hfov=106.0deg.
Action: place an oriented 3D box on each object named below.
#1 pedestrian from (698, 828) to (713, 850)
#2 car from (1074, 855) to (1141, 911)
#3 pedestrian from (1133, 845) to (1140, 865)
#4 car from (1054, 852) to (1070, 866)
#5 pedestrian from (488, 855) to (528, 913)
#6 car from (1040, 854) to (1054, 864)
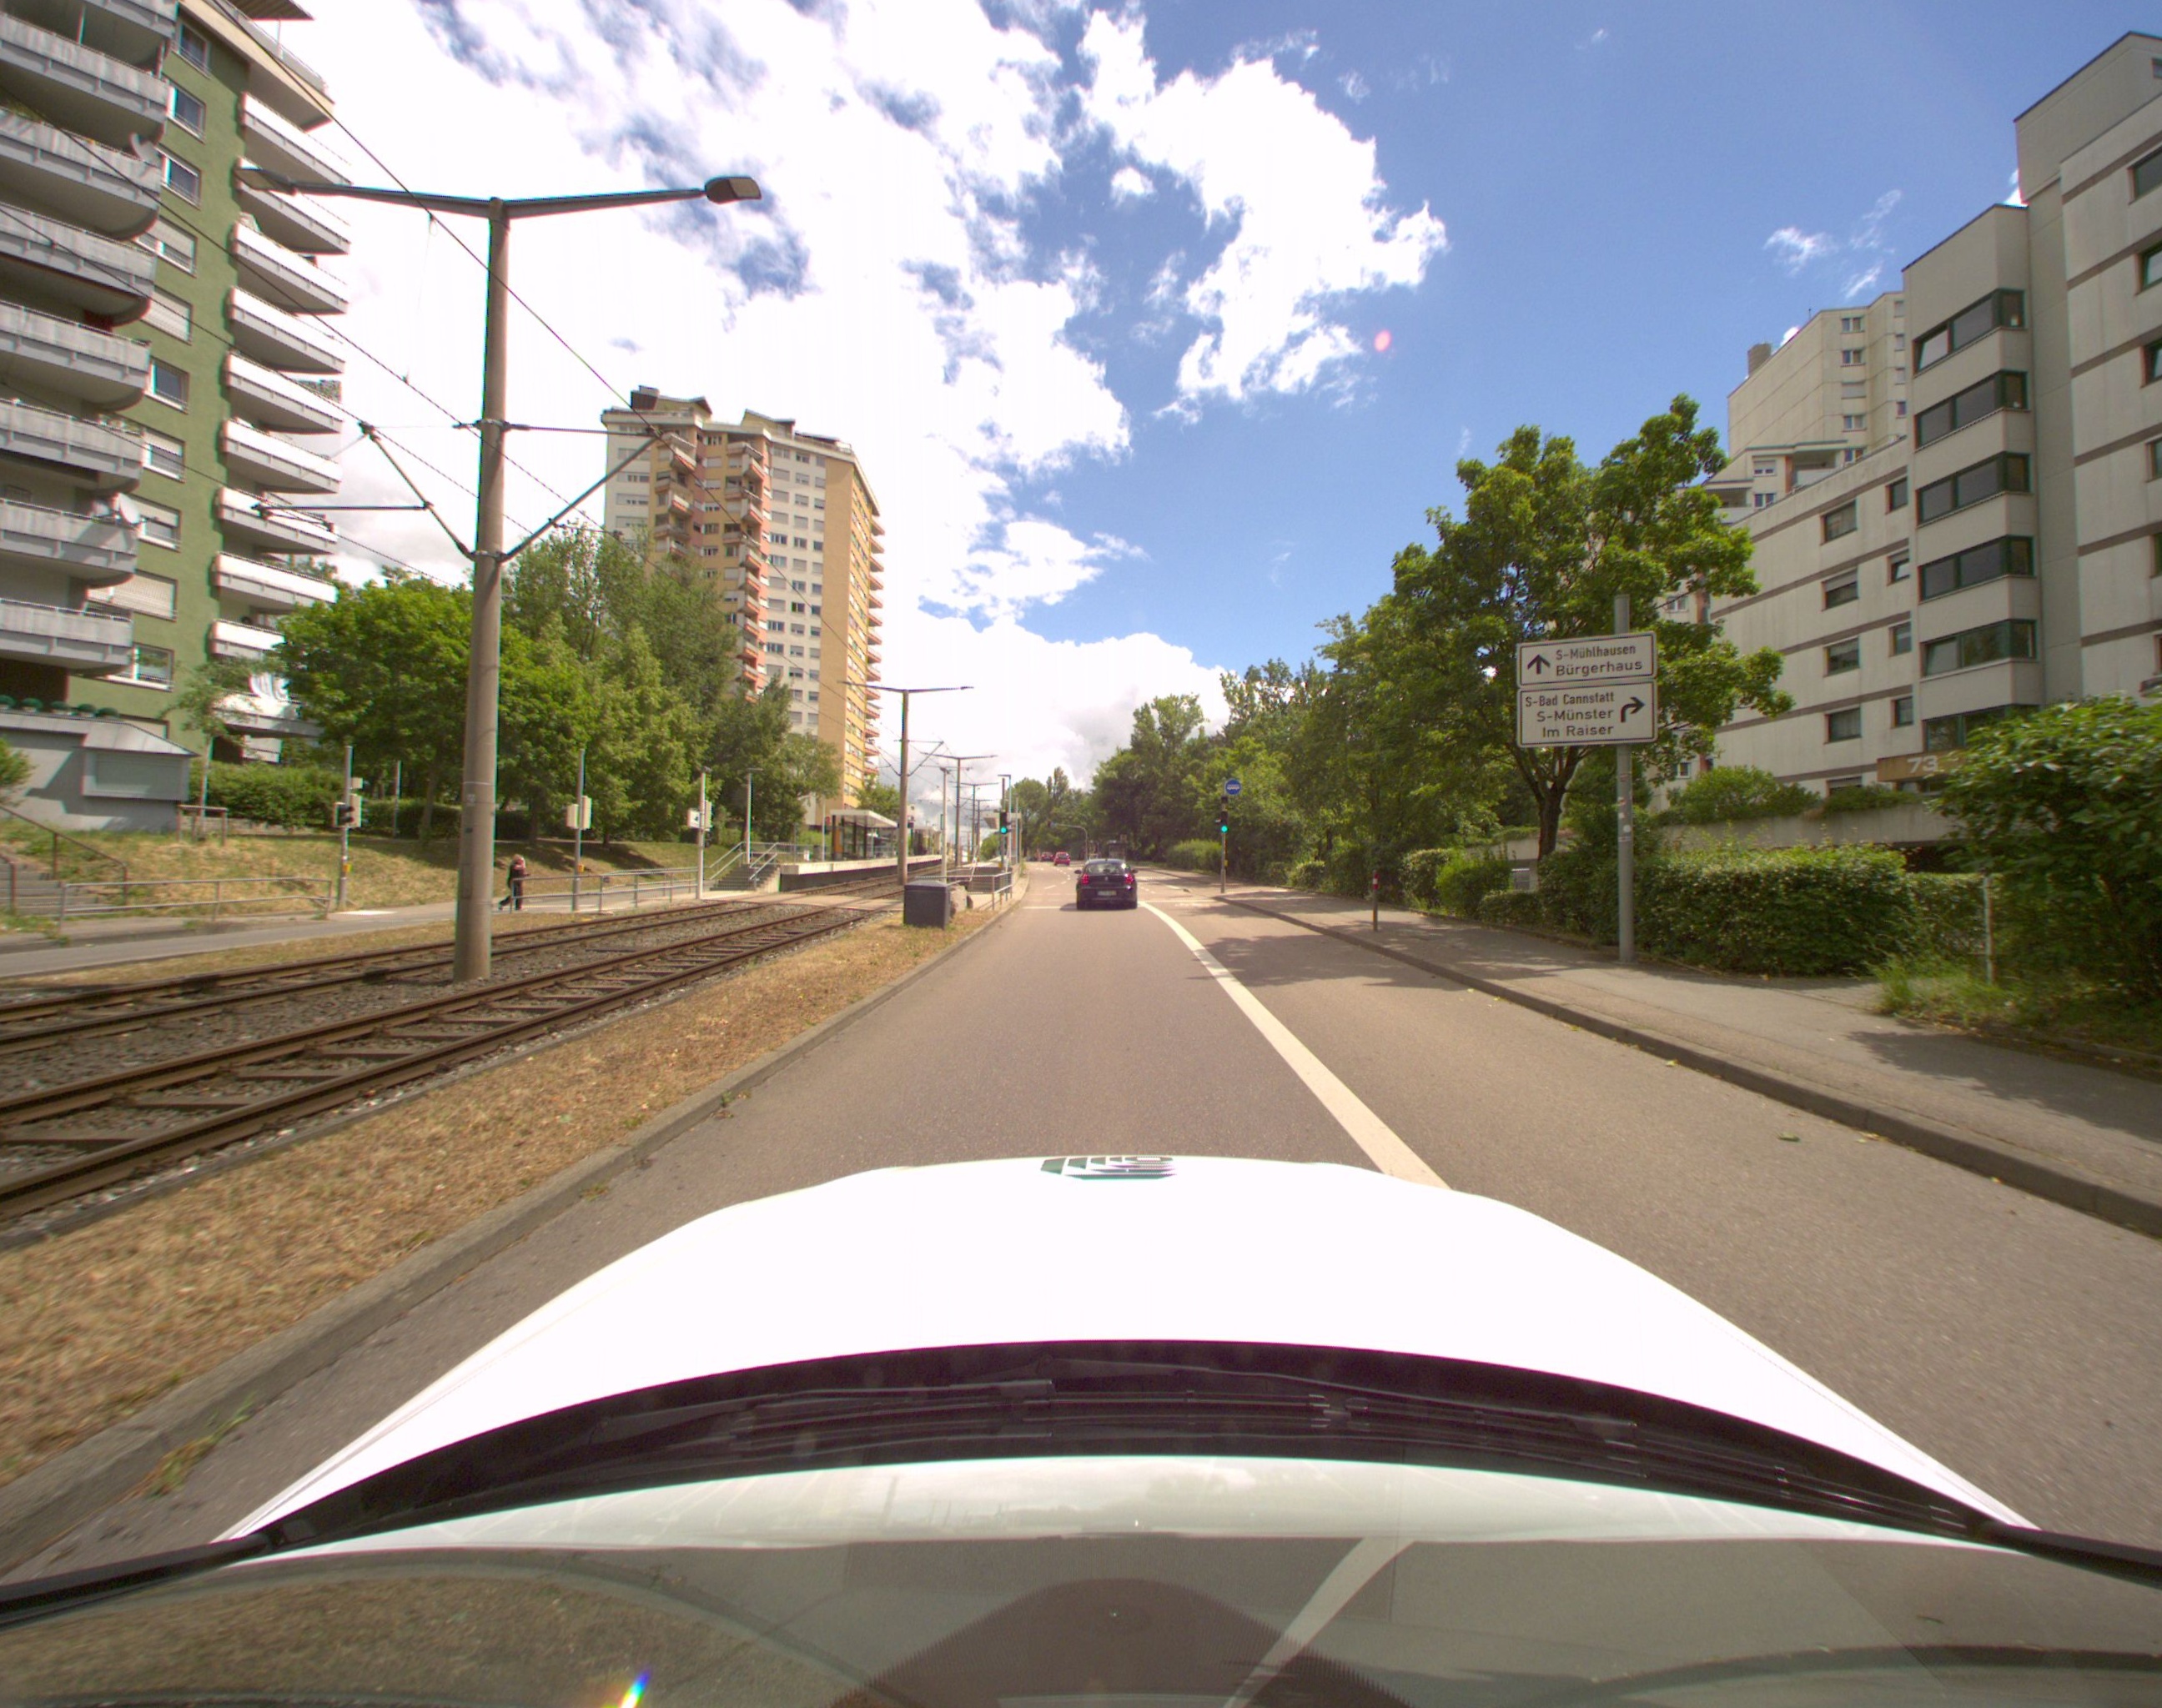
[{"bbox_3d":[-26.212,-1.029,56.845,0.629,1.534,0.637,-1,0,18],"label":"pedestrian"},{"bbox_3d":[0.703,0.786,24.088,1.776,1.459,3.919,-1,0,-1],"label":"car"},{"bbox_3d":[5.533,0.123,81.415,0.737,2.013,0.682,0,0,1],"label":"pedestrian"},{"bbox_3d":[-2.168,0.568,91.294,1.777,1.459,3.917,0,0,-3],"label":"car"},{"bbox_3d":[-15.455,0.790,21.973,0.774,1.534,0.708,0,0,-44],"label":"pedestrian"},{"bbox_3d":[-5.060,0.671,119.445,1.906,1.459,3.995,0,0,-5],"label":"car"}]
